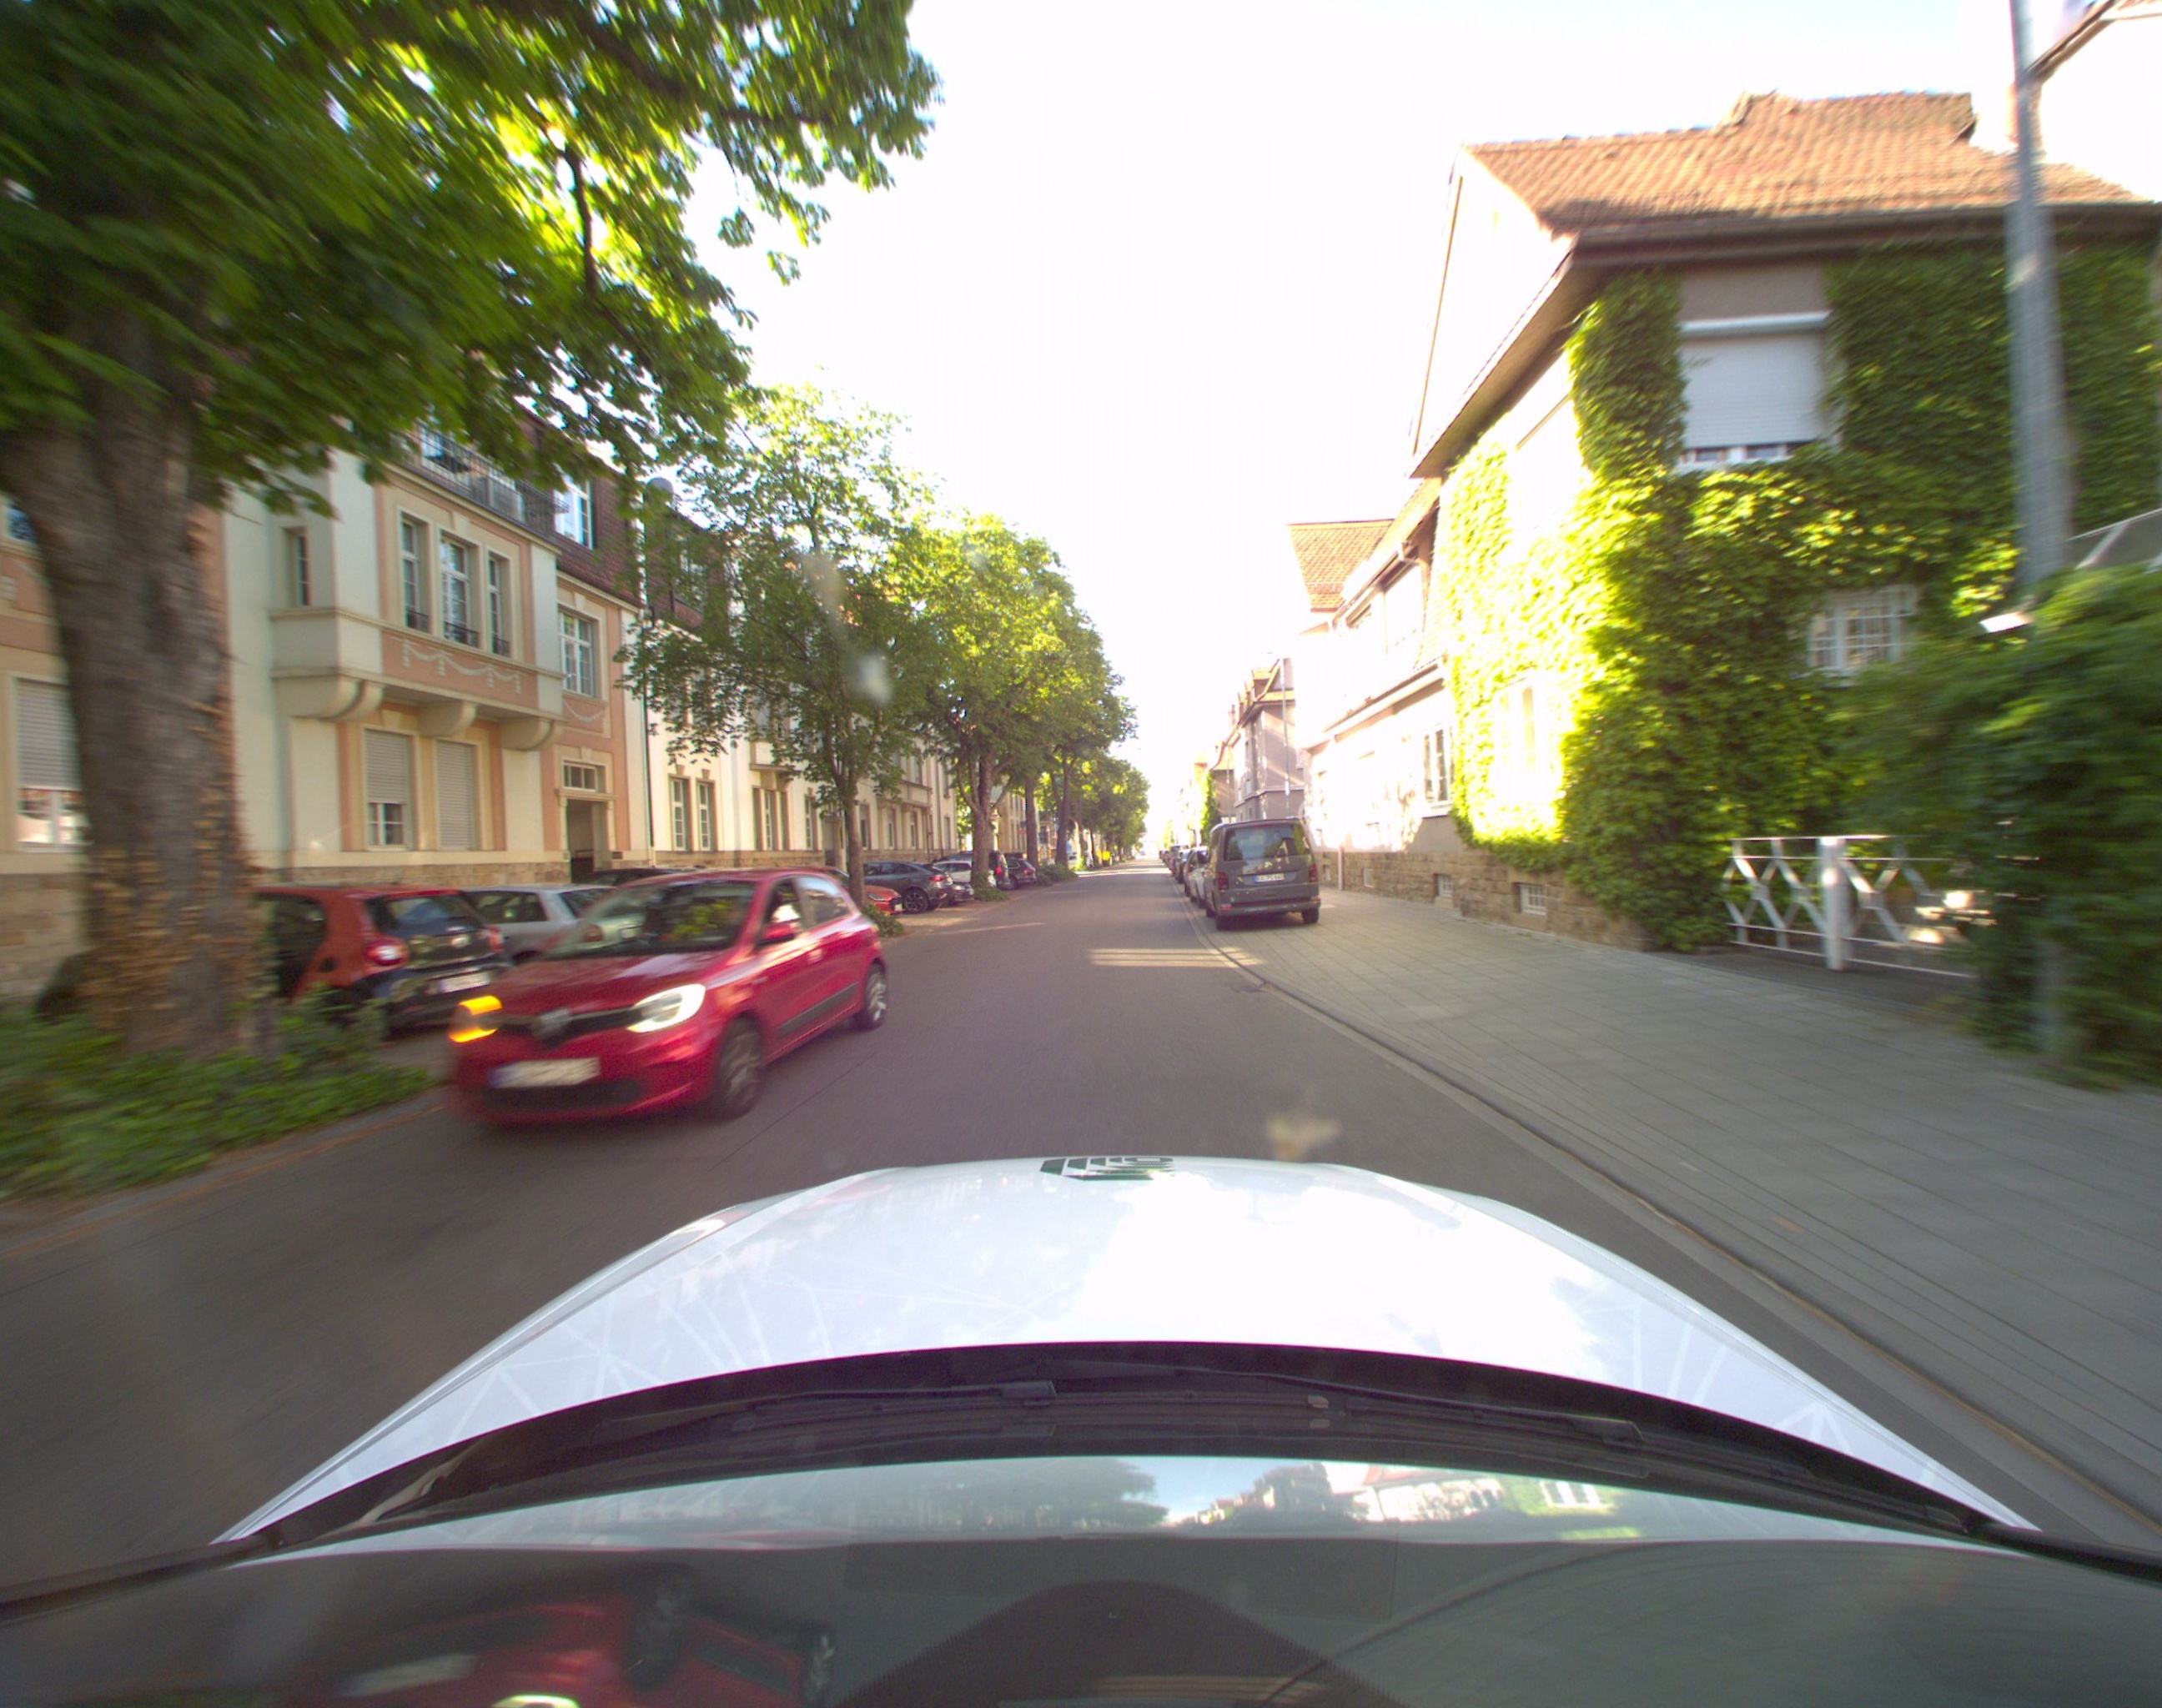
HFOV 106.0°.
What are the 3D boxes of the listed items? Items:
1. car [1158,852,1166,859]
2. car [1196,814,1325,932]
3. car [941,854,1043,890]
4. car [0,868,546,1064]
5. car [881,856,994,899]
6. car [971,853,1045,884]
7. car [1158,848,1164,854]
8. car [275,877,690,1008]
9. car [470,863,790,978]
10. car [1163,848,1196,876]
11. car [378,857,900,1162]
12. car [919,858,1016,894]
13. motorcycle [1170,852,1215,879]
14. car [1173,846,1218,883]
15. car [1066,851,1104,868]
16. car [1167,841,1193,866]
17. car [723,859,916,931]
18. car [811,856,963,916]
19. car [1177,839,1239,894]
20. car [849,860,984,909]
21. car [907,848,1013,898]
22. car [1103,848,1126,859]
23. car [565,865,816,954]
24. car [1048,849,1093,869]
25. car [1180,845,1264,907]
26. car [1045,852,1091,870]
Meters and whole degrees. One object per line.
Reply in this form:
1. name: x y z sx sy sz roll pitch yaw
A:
1. car: 18.680 0.359 187.031 1.762 1.631 3.873 -3 0 6
2. car: 3.452 0.317 16.577 1.856 1.916 4.789 -5 0 5
3. car: -4.177 0.846 38.706 4.512 1.503 1.893 -2 0 3
4. car: -7.817 1.025 8.028 3.967 1.508 1.725 -4 0 6
5. car: -5.497 0.893 31.564 3.973 1.448 1.742 -2 0 1
6. car: -3.889 0.784 43.793 3.658 1.487 1.643 -2 0 4
7. car: 24.439 -0.994 249.980 1.762 1.631 3.873 -3 0 6
8. car: -7.376 1.061 10.278 3.967 1.403 1.833 -1 0 6
9. car: -6.902 0.986 12.728 3.967 1.566 1.866 -2 0 6
10. car: 6.026 0.468 50.210 1.692 1.539 4.159 -5 0 3
11. car: -2.784 0.845 6.190 1.633 1.508 3.707 -4 0 4
12. car: -5.015 0.963 36.338 3.963 1.437 1.830 -2 0 2
13. motorcycle: 5.861 0.605 42.859 2.193 1.339 0.918 -1 1 -10
14. car: 5.367 0.452 38.695 1.845 1.493 4.615 -4 0 6
15. car: 0.417 0.608 87.228 3.978 1.552 1.835 -3 0 -4
16. car: 8.389 -0.058 69.488 1.895 1.870 4.680 -5 0 5
17. car: -6.170 0.952 19.471 3.968 1.514 1.749 -2 -1 4
18. car: -5.719 0.927 24.341 3.969 1.592 1.861 -2 0 4
19. car: 4.275 0.405 27.903 1.780 1.600 4.007 -5 -1 6
20. car: -5.376 0.986 26.838 3.879 1.446 1.864 -2 0 9
21. car: -4.990 0.774 33.940 3.962 1.855 1.831 -2 0 3
22. car: 5.934 -0.151 144.580 3.985 1.841 2.004 0 1 7
23. car: -7.226 0.997 15.289 3.771 1.462 1.866 -2 0 6
24. car: -0.896 0.455 73.445 3.973 1.761 1.798 -1 -1 1
25. car: 3.788 0.544 22.593 1.672 1.457 4.441 -3 0 2
26. car: -1.127 0.623 71.271 3.973 1.464 1.798 -1 -1 1
